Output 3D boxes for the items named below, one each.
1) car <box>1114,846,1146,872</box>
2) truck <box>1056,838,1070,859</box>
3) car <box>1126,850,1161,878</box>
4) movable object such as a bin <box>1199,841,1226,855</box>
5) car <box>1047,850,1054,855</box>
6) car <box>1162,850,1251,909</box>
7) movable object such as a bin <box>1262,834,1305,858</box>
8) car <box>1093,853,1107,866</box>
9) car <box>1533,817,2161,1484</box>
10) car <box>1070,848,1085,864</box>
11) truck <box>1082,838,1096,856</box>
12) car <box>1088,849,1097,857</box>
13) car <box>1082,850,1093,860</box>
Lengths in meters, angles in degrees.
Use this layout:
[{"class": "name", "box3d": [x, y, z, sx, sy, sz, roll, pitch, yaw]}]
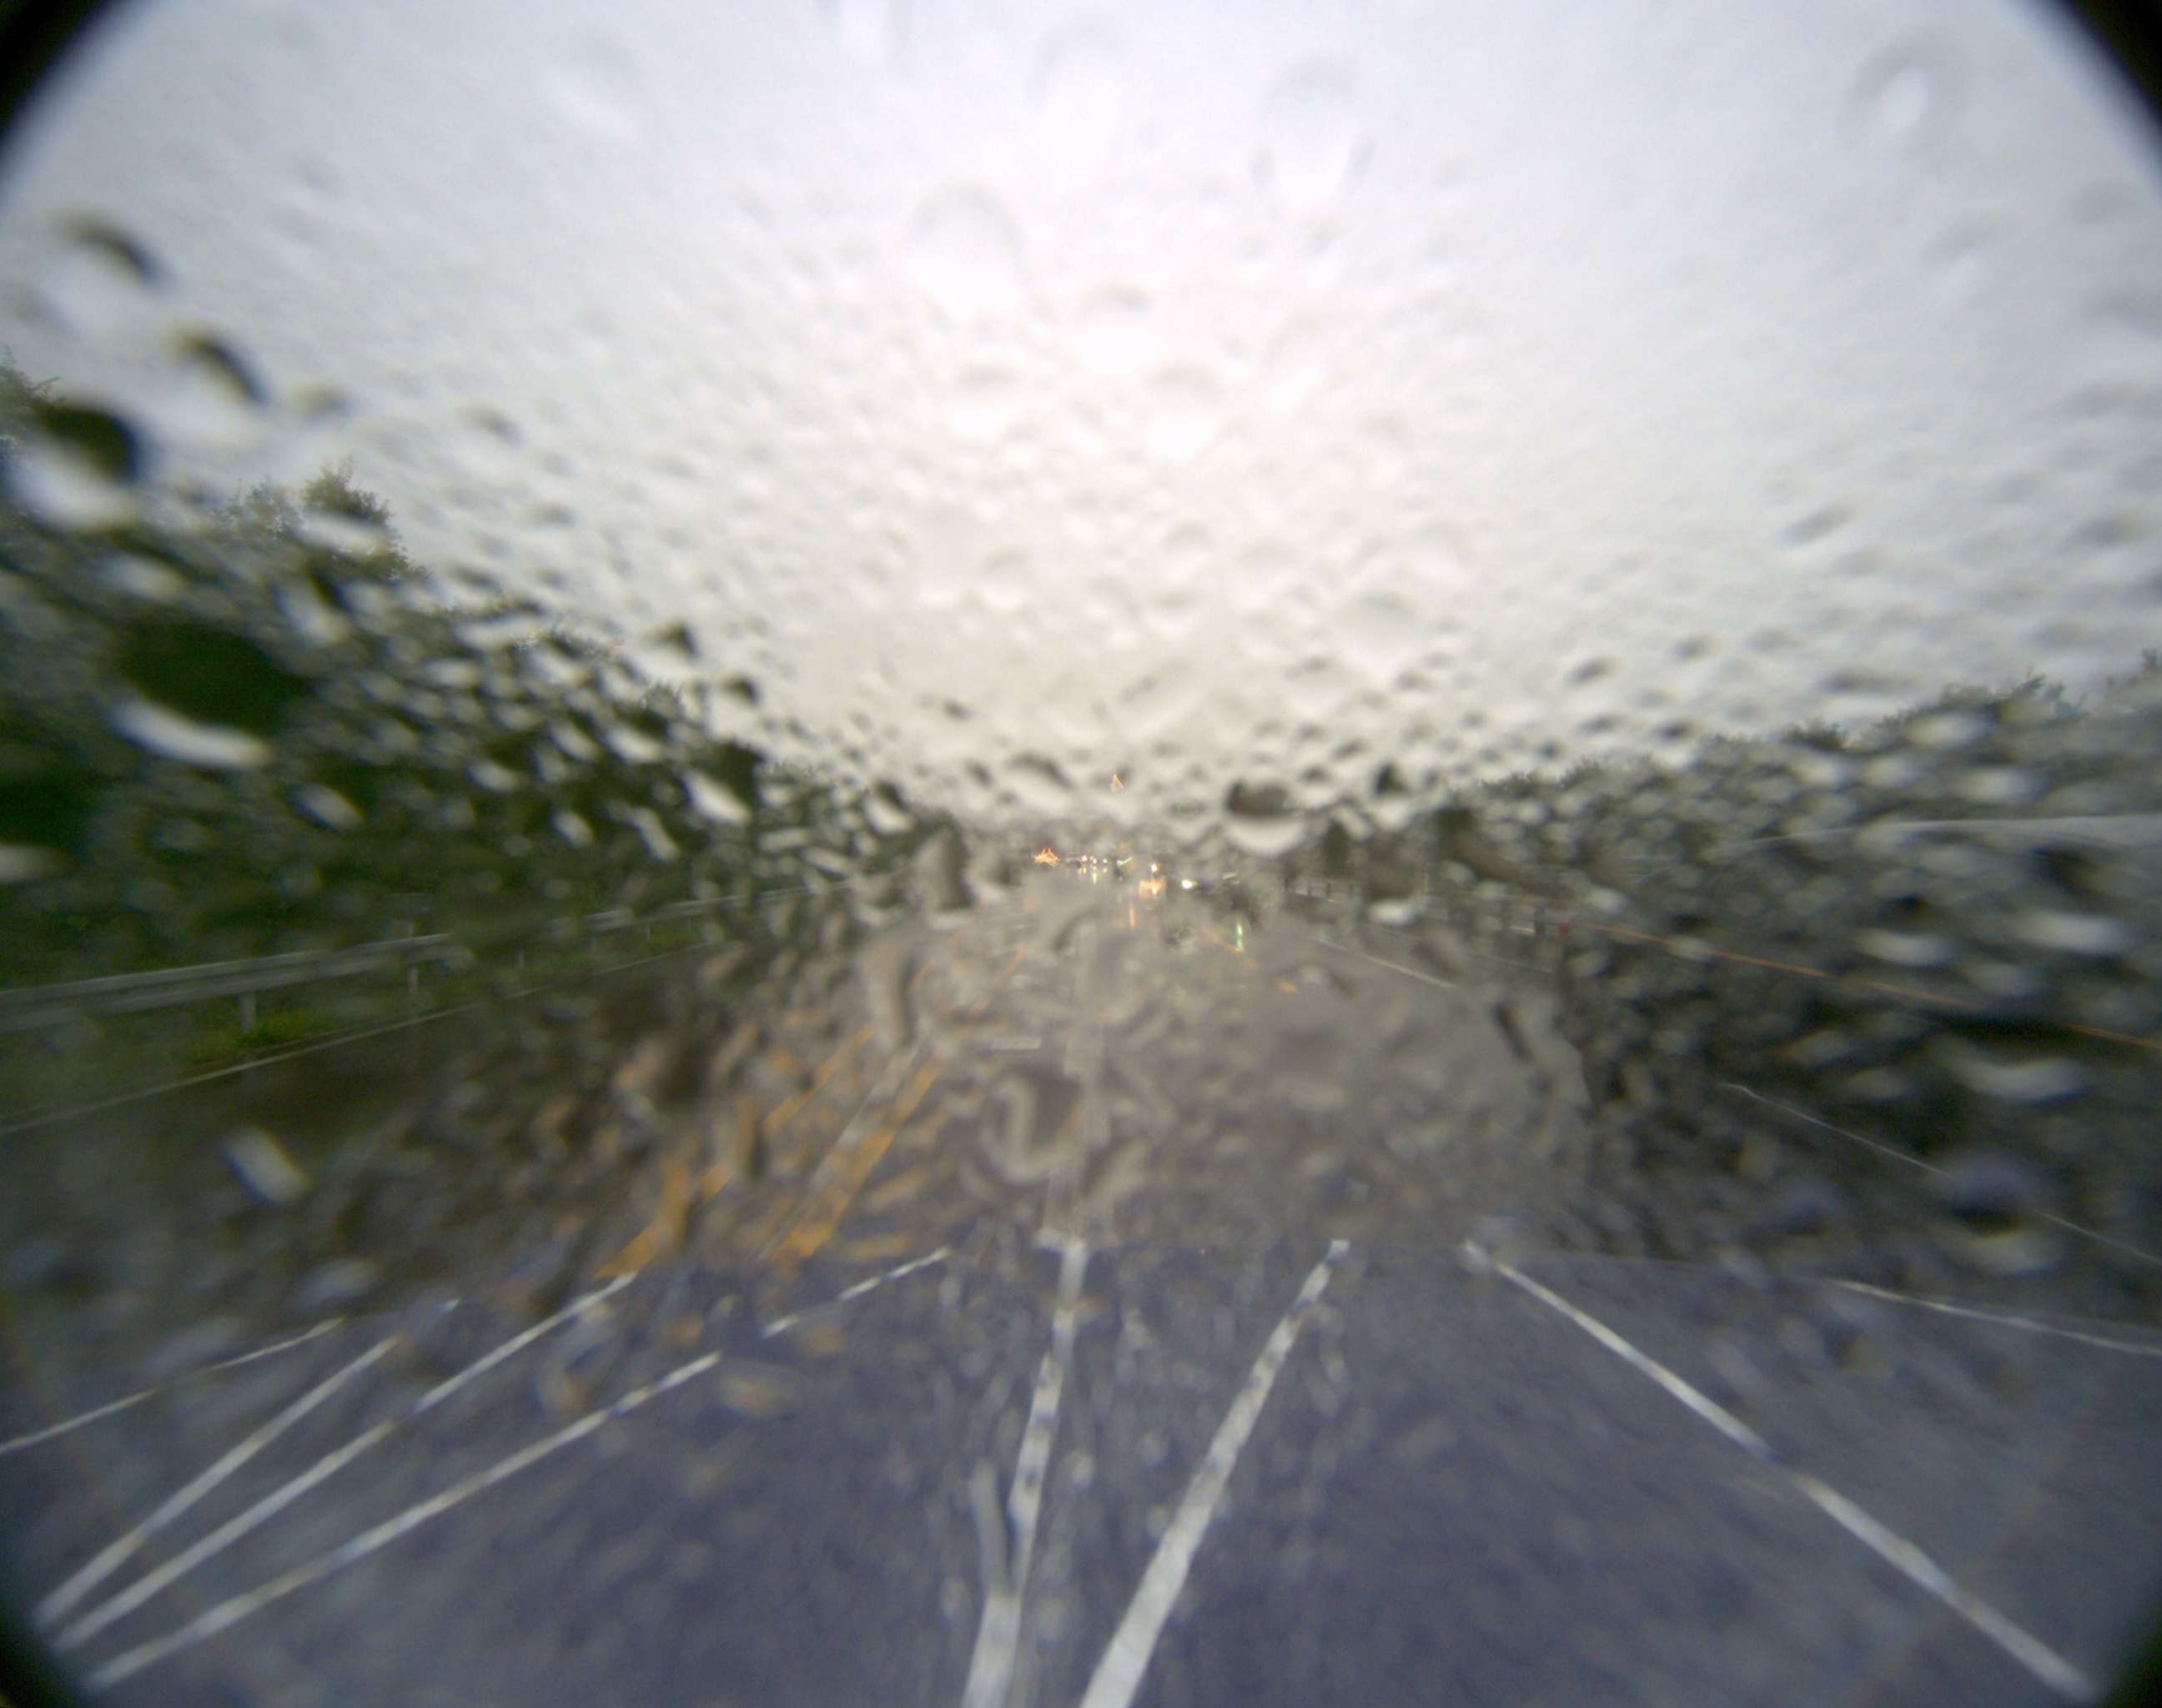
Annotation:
[{"class": "car", "box3d": [4.042, 0.404, 63.413, 2.211, 2.002, 5.563, -2, 0, 0]}, {"class": "truck", "box3d": [-3.633, -1.147, 151.744, 2.484, 4.061, 8.703, -2, 1, -1]}, {"class": "car", "box3d": [3.848, 0.615, 47.254, 1.978, 1.586, 4.311, -2, -1, 3]}, {"class": "movable object such as a bin", "box3d": [24.027, -1.082, 139.308, 3.448, 2.281, 5.098, -3, 1, -7]}, {"class": "car", "box3d": [-8.877, -0.419, 222.256, 1.752, 1.579, 3.999, -2, 0, -1]}, {"class": "car", "box3d": [3.612, 0.684, 22.732, 1.998, 1.489, 4.631, -2, 0, 2]}, {"class": "movable object such as a bin", "box3d": [26.050, -1.028, 97.947, 3.774, 2.782, 6.329, -2, 1, 0]}, {"class": "car", "box3d": [2.500, 0.729, 102.598, 1.695, 1.740, 3.999, -2, 1, -1]}, {"class": "car", "box3d": [3.571, 0.682, 2.157, 1.998, 1.576, 4.413, -2, 0, 2]}, {"class": "car", "box3d": [-0.487, 0.222, 99.644, 1.881, 2.002, 3.999, -2, 1, -1]}, {"class": "truck", "box3d": [2.236, -2.026, 214.306, 3.283, 4.808, 15.982, -2, 0, -1]}, {"class": "car", "box3d": [2.635, -0.176, 178.905, 1.956, 1.707, 5.102, -2, 0, -1]}, {"class": "car", "box3d": [1.136, 0.220, 132.773, 1.845, 1.586, 3.999, -2, 0, -1]}]
